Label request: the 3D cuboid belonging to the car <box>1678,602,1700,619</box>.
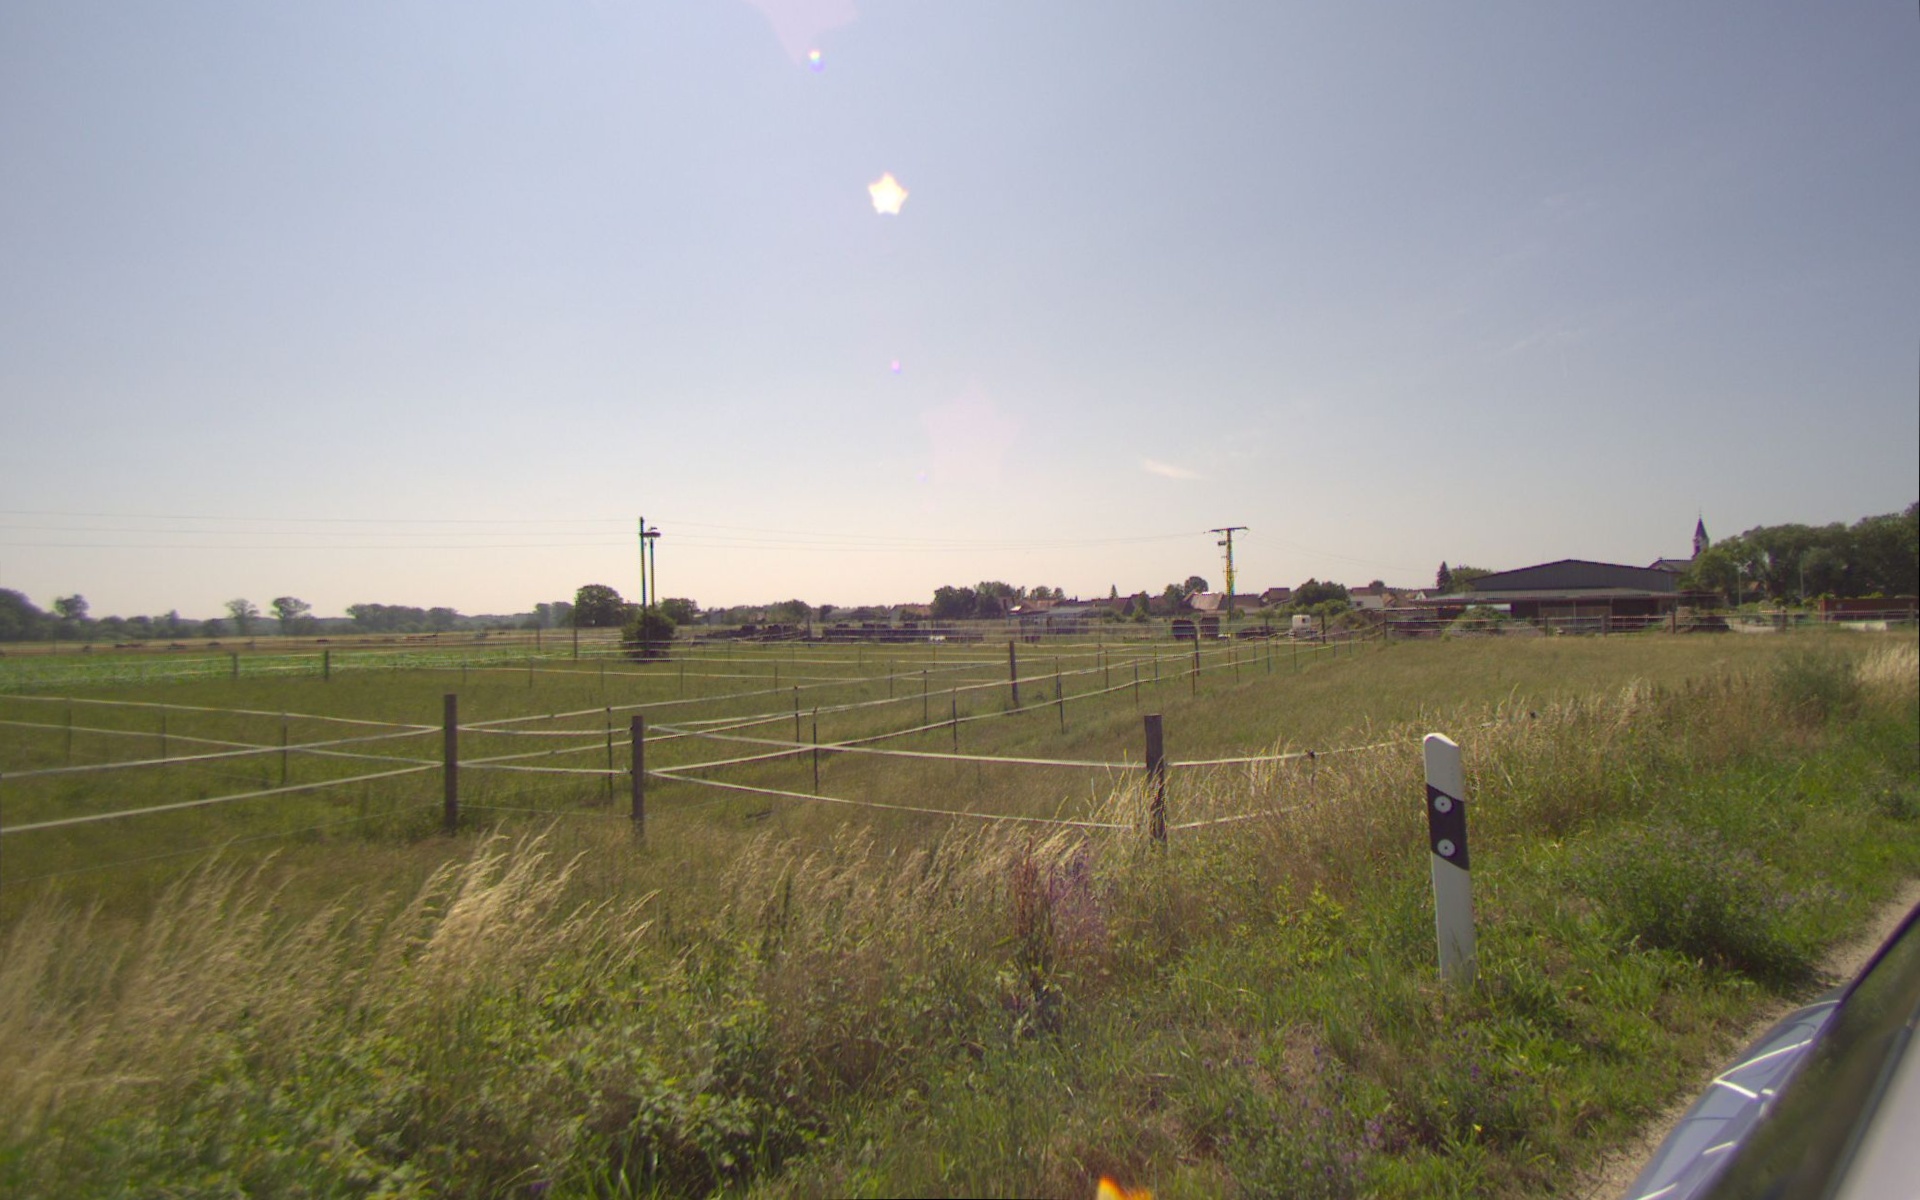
[{"bbox_3d":[93.703,1.371,130.112,1.984,2.040,3.954,-5,-3,32],"label":"car"}]
